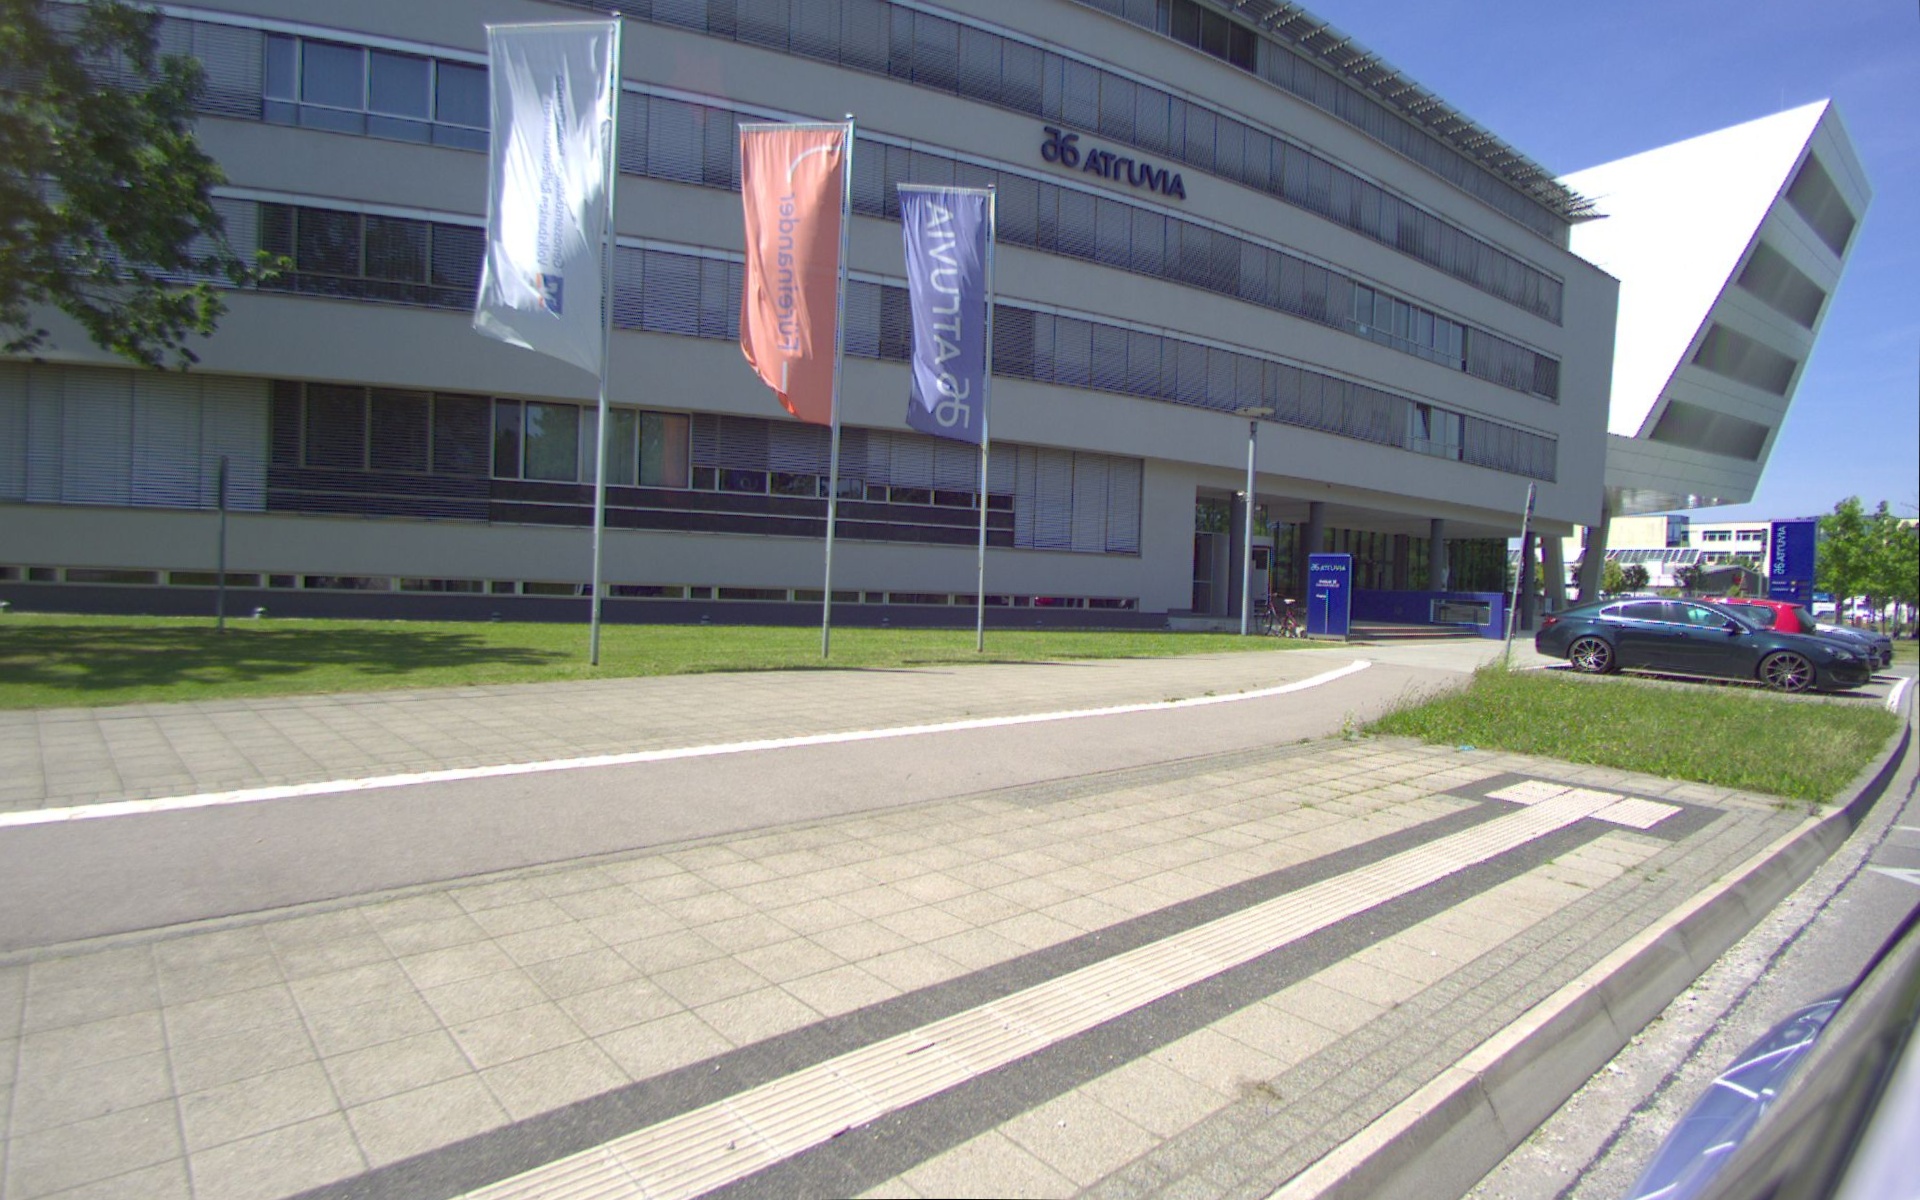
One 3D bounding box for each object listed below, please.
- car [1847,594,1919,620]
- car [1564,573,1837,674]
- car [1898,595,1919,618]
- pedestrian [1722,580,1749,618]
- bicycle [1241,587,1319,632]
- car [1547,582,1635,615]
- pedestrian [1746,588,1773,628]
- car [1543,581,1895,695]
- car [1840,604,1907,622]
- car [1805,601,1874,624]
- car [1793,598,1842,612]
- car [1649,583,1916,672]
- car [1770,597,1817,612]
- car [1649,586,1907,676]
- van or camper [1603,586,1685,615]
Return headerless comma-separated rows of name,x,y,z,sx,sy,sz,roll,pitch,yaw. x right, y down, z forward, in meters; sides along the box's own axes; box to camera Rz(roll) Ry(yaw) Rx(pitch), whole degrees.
car,82.317,0.584,88.787,2.124,2.176,6.498,1,1,-36
car,14.381,0.380,19.828,1.807,1.675,3.995,0,2,-41
car,87.667,0.618,91.295,1.671,2.000,4.208,1,1,-36
pedestrian,34.474,-0.059,45.010,0.763,1.681,0.843,1,0,-44
bicycle,7.970,0.220,25.300,0.524,1.073,1.882,1,0,-38
car,50.121,-0.138,80.491,1.963,2.491,5.586,1,1,-36
pedestrian,35.067,0.333,44.390,0.763,1.722,0.843,1,0,-44
car,12.880,0.534,17.419,1.797,1.449,4.573,0,4,-44
car,76.419,1.070,84.675,1.623,1.410,3.996,0,1,-39
car,68.662,0.929,79.020,1.710,1.695,3.821,1,1,-40
car,104.713,0.599,123.573,1.671,1.678,4.325,1,1,-36
car,18.097,0.531,22.431,1.755,1.582,4.329,0,3,-42
car,95.883,0.498,116.484,1.671,1.561,3.920,1,1,-36
car,16.542,0.557,20.605,1.626,1.504,3.816,1,3,-40
van or camper,59.787,0.020,88.568,1.671,2.420,5.705,1,0,-36
